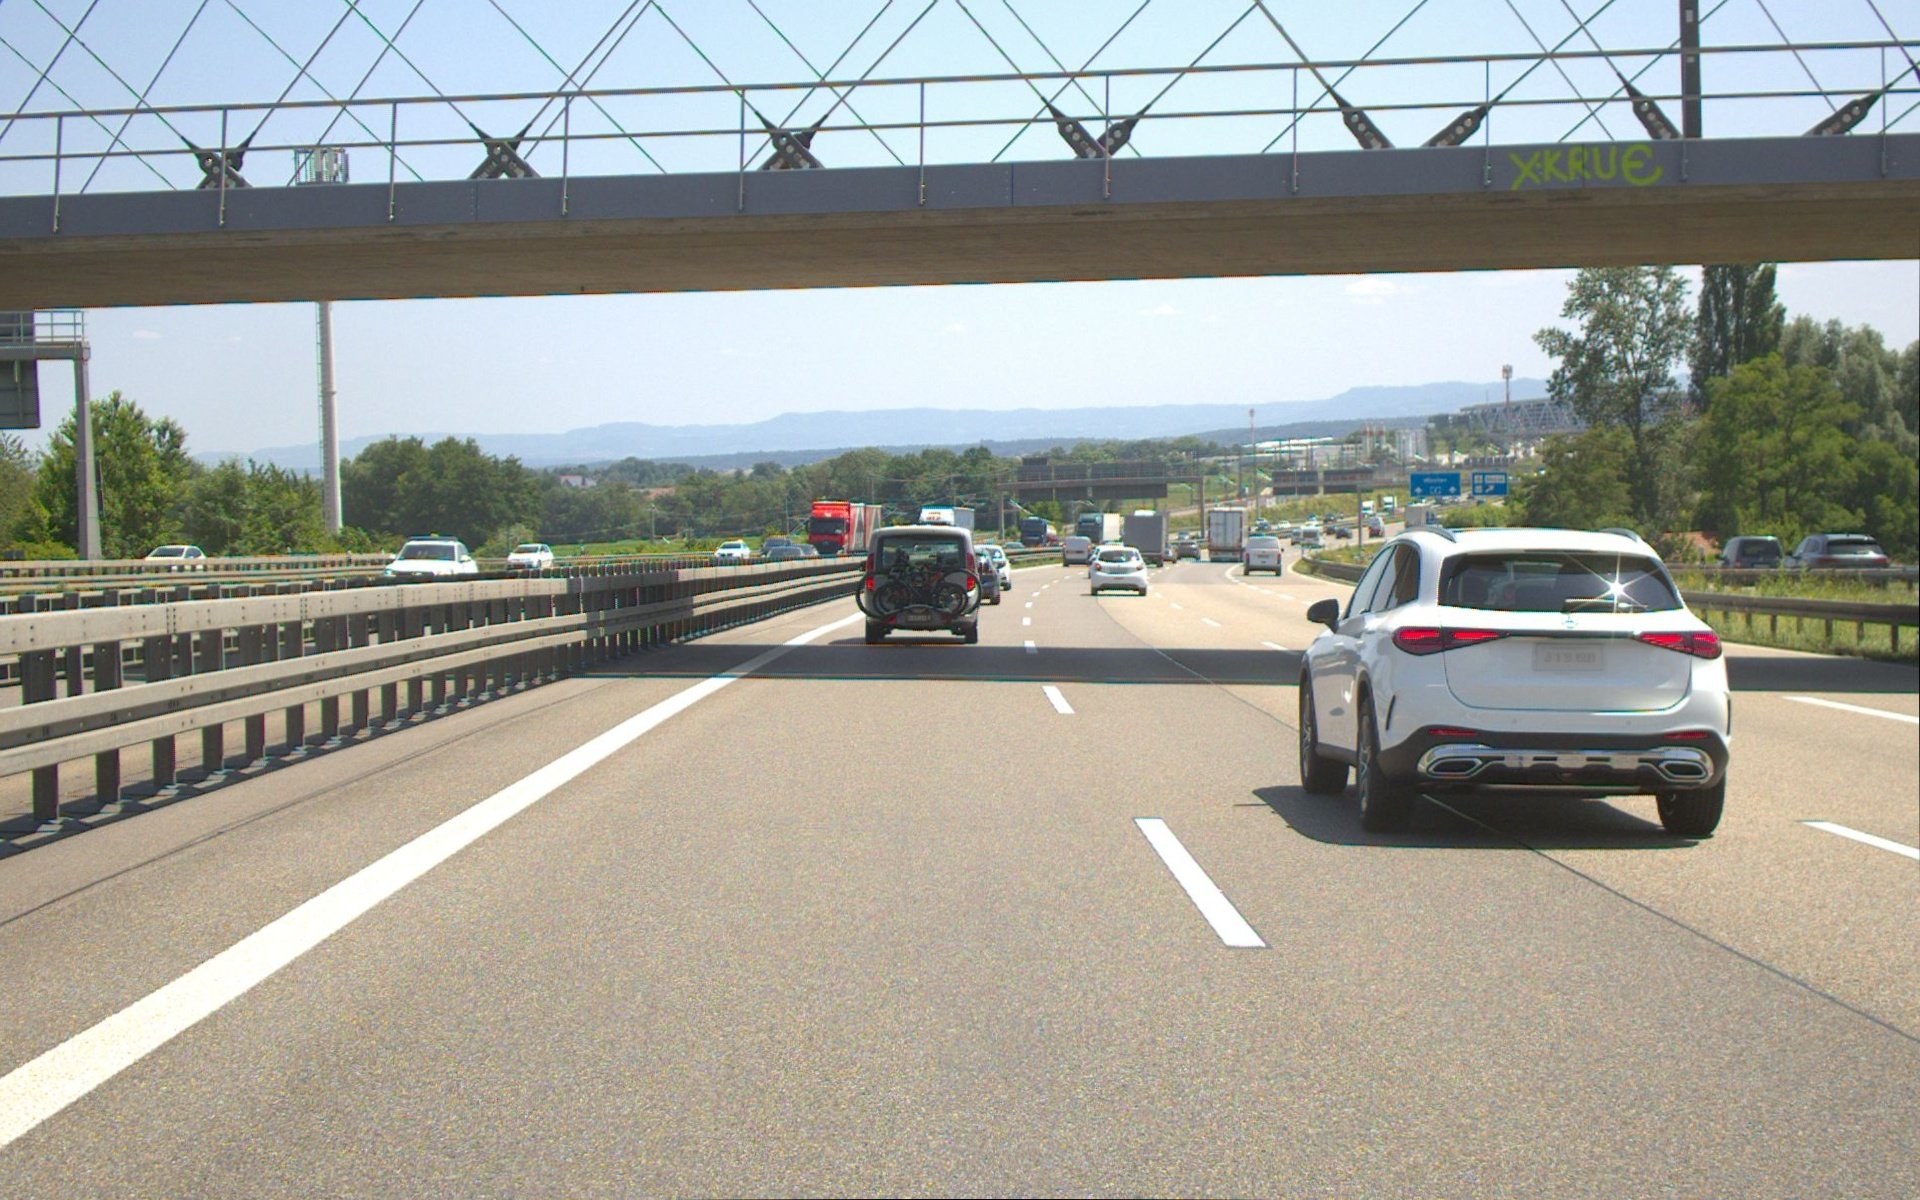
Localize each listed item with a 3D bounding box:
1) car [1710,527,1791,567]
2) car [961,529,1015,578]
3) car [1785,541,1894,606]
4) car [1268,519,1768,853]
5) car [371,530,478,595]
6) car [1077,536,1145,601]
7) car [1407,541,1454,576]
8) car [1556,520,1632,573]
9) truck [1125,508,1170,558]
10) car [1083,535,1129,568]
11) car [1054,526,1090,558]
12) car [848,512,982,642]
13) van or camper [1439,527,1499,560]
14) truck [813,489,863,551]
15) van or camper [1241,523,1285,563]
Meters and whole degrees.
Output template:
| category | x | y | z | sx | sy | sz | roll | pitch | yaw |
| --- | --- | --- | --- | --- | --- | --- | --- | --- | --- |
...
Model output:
| category | x | y | z | sx | sy | sz | roll | pitch | yaw |
| --- | --- | --- | --- | --- | --- | --- | --- | --- | --- |
| car | 26.425 | -1.771 | 115.014 | 1.699 | 1.273 | 4.000 | 1 | 1 | -2 |
| car | 0.940 | -1.538 | 113.602 | 1.576 | 1.547 | 3.964 | 1 | 1 | 3 |
| car | 22.056 | -0.679 | 86.355 | 1.699 | 1.569 | 4.128 | 1 | 1 | 1 |
| car | 3.010 | 0.397 | 19.645 | 1.898 | 1.641 | 4.999 | 1 | 1 | -2 |
| car | -13.792 | -0.988 | 88.758 | 1.928 | 1.633 | 4.977 | 0 | 1 | 1 |
| car | 4.606 | -0.979 | 105.345 | 1.926 | 1.912 | 4.518 | 1 | 1 | 1 |
| car | 27.379 | -2.405 | 200.137 | 1.993 | 2.007 | 4.000 | 1 | 1 | -3 |
| car | 23.766 | -2.013 | 128.948 | 1.939 | 1.917 | 4.180 | 1 | 1 | -2 |
| truck | 11.919 | -4.217 | 217.933 | 2.703 | 3.098 | 10.658 | 1 | 1 | 4 |
| car | 6.587 | -2.182 | 154.952 | 1.982 | 1.468 | 4.000 | 0 | 1 | 4 |
| car | 7.061 | -3.654 | 216.302 | 2.186 | 1.996 | 4.000 | 1 | 1 | 3 |
| car | -0.653 | -0.375 | 53.960 | 1.926 | 1.912 | 4.948 | 1 | 1 | 1 |
| van or camper | 32.189 | -3.579 | 217.456 | 2.528 | 2.007 | 4.462 | 1 | 1 | -8 |
| truck | -8.239 | -5.393 | 233.063 | 2.582 | 4.101 | 10.348 | 1 | 1 | 2 |
| van or camper | 15.488 | -2.917 | 175.978 | 2.156 | 2.007 | 4.304 | 1 | 1 | 4 |
